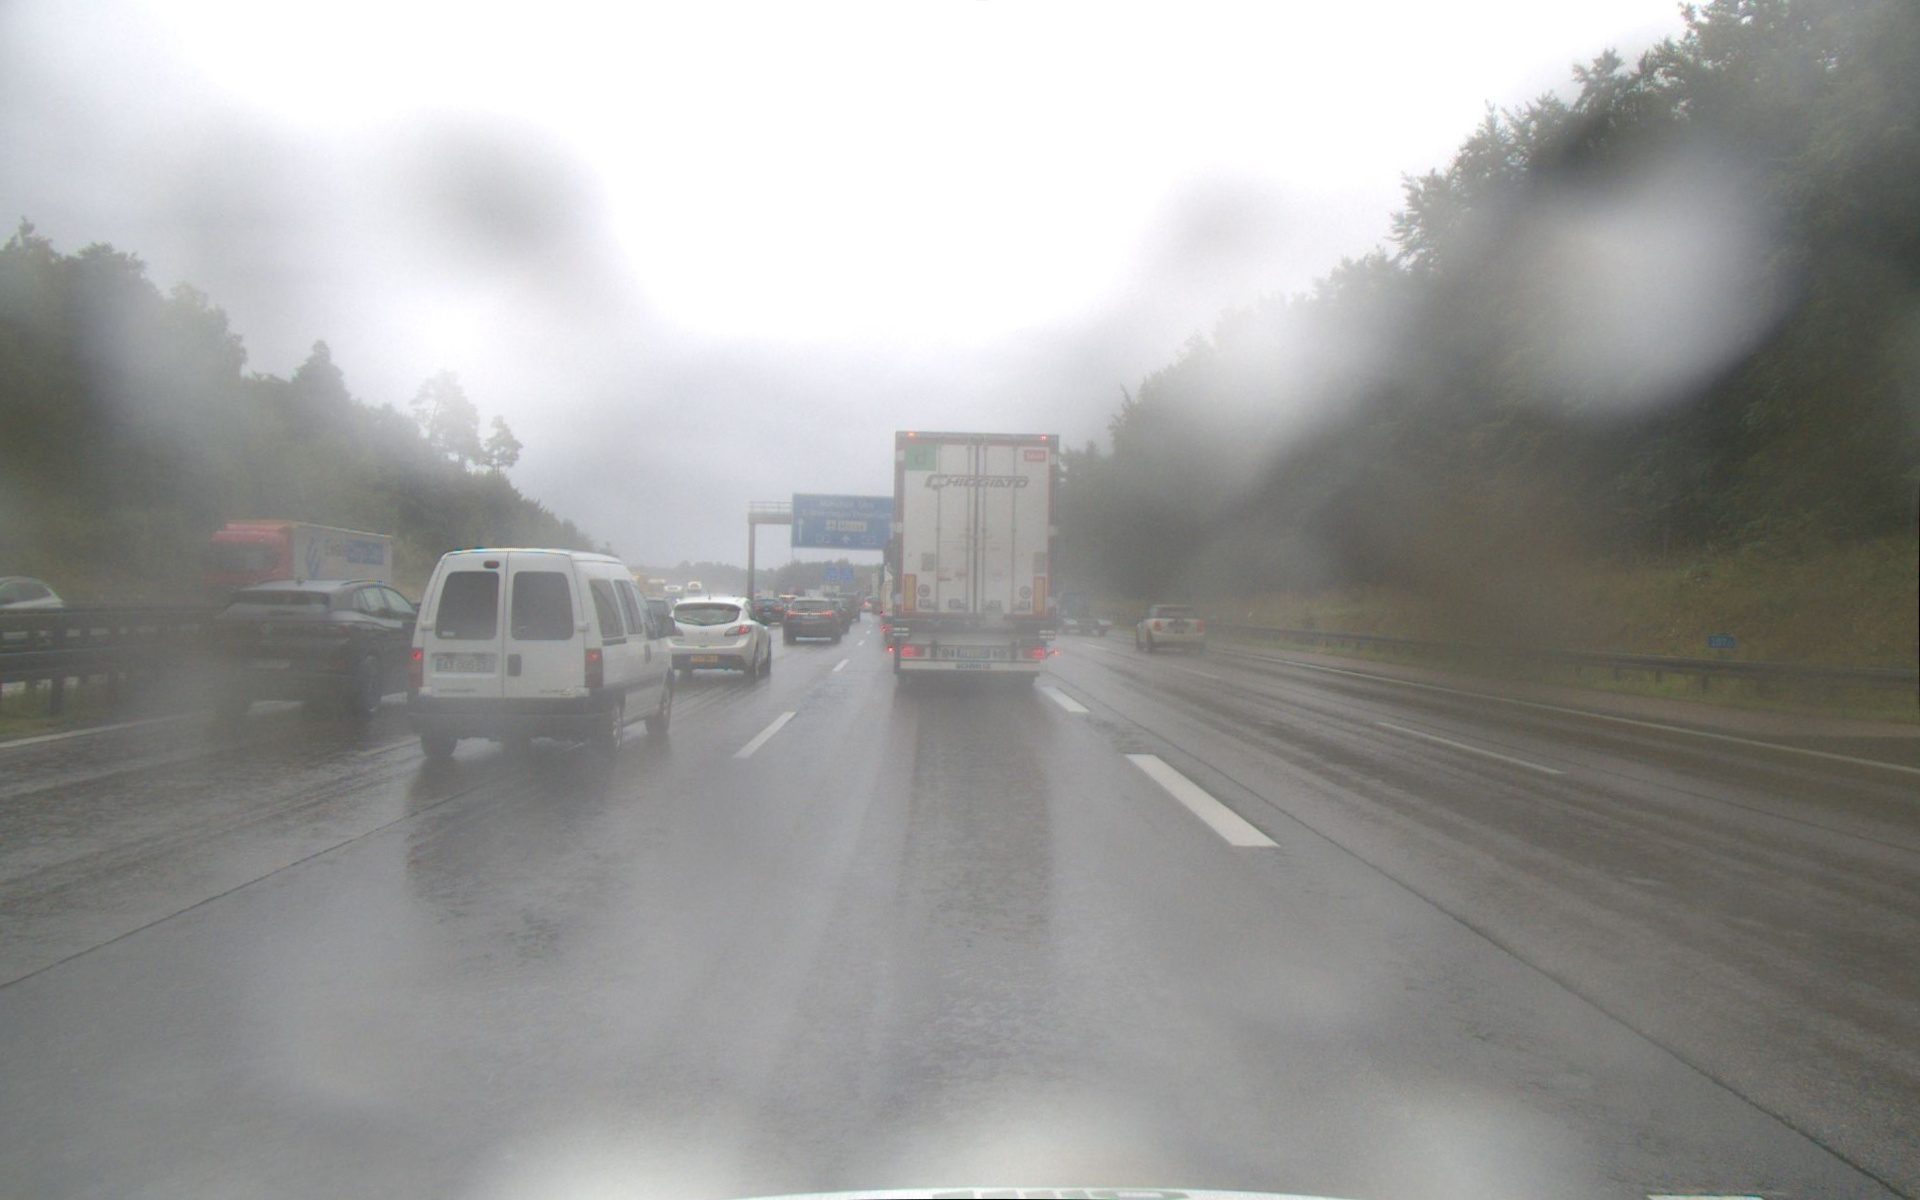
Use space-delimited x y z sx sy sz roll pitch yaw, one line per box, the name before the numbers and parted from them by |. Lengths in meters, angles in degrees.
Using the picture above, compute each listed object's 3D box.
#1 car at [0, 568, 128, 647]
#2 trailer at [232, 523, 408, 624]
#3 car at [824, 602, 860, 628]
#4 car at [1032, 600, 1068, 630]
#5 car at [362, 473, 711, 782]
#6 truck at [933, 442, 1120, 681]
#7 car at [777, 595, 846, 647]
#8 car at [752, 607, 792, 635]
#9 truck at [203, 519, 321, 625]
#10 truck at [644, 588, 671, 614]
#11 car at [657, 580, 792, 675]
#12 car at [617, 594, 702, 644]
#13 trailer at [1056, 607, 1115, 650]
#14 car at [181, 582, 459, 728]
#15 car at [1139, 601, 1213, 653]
car | -19.302 0.122 34.244 1.954 1.533 4.705 0 1 -3
trailer | -27.845 -1.068 72.926 2.665 4.023 13.956 -1 0 -1
car | -6.507 0.802 91.466 1.808 1.354 4.465 1 0 -2
car | 5.038 0.822 93.139 1.948 1.611 4.769 1 0 2
car | -3.999 0.214 16.662 2.167 2.618 5.016 1 0 0
truck | 1.066 -0.574 31.039 2.813 3.624 11.302 1 0 0
car | -4.884 0.668 54.873 1.807 1.619 4.467 1 0 1
car | -10.119 1.122 89.303 1.808 1.354 4.465 1 0 -2
truck | -27.678 -1.062 65.823 2.649 4.023 4.890 -1 0 -1
truck | -42.636 0.186 233.616 2.470 3.544 11.708 1 0 -5
car | -4.280 0.461 30.620 1.807 1.619 4.072 1 0 1
car | -8.748 0.526 48.486 1.808 1.354 4.465 1 0 -2
trailer | 5.512 1.210 73.312 2.197 1.744 5.082 1 0 0
car | -7.863 0.601 20.809 1.808 1.619 4.465 1 0 -1
car | 6.403 0.779 49.400 1.753 1.431 4.229 1 0 2
